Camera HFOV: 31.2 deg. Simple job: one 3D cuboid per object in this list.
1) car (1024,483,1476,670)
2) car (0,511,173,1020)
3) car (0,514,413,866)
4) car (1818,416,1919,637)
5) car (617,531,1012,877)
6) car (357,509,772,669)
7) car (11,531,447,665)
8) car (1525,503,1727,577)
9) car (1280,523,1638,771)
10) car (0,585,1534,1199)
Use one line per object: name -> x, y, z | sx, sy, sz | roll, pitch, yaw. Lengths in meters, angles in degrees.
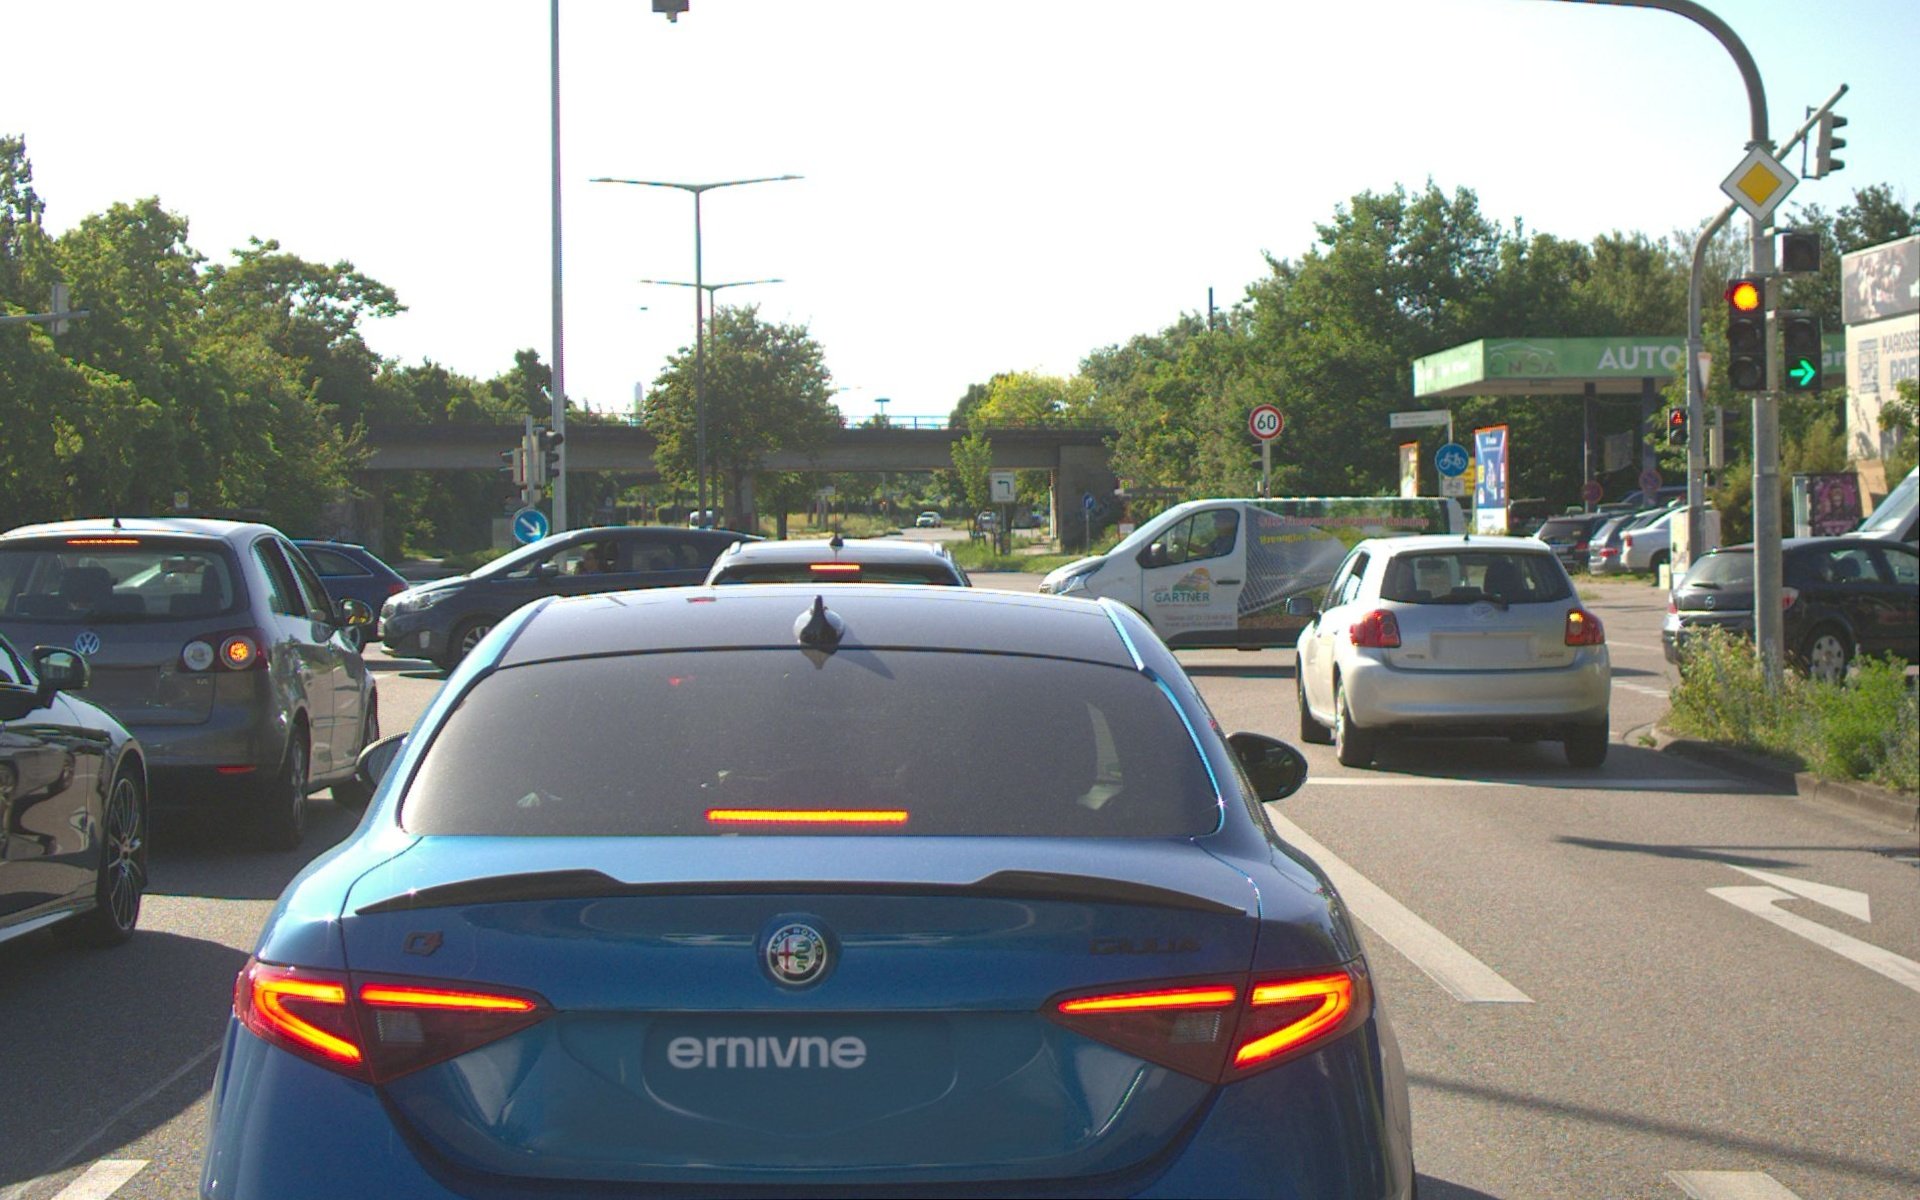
car -> 3.267, -0.276, 39.398 | 4.954, 2.029, 1.881 | -1, 1, -1
car -> -3.824, 0.493, 10.659 | 1.812, 1.546, 4.544 | 0, 1, -1
car -> -3.963, 0.375, 17.418 | 1.812, 1.546, 4.354 | 1, 1, -2
car -> 13.834, -0.962, 42.650 | 5.835, 2.663, 2.000 | -1, 0, 1
car -> -0.611, 0.439, 16.953 | 1.704, 1.492, 3.719 | 1, 1, 1
car -> -4.306, -0.116, 37.249 | 4.305, 1.644, 1.639 | 1, 0, -12
car -> -8.453, -0.022, 39.893 | 4.817, 1.463, 1.759 | 1, 0, -12
car -> 14.446, -1.295, 74.690 | 3.987, 1.547, 2.000 | 1, 0, 1
car -> 3.323, 0.249, 23.625 | 1.783, 1.531, 4.108 | 1, 1, -1
car -> -0.222, 0.705, 6.118 | 1.910, 1.418, 3.719 | 1, 1, 1
